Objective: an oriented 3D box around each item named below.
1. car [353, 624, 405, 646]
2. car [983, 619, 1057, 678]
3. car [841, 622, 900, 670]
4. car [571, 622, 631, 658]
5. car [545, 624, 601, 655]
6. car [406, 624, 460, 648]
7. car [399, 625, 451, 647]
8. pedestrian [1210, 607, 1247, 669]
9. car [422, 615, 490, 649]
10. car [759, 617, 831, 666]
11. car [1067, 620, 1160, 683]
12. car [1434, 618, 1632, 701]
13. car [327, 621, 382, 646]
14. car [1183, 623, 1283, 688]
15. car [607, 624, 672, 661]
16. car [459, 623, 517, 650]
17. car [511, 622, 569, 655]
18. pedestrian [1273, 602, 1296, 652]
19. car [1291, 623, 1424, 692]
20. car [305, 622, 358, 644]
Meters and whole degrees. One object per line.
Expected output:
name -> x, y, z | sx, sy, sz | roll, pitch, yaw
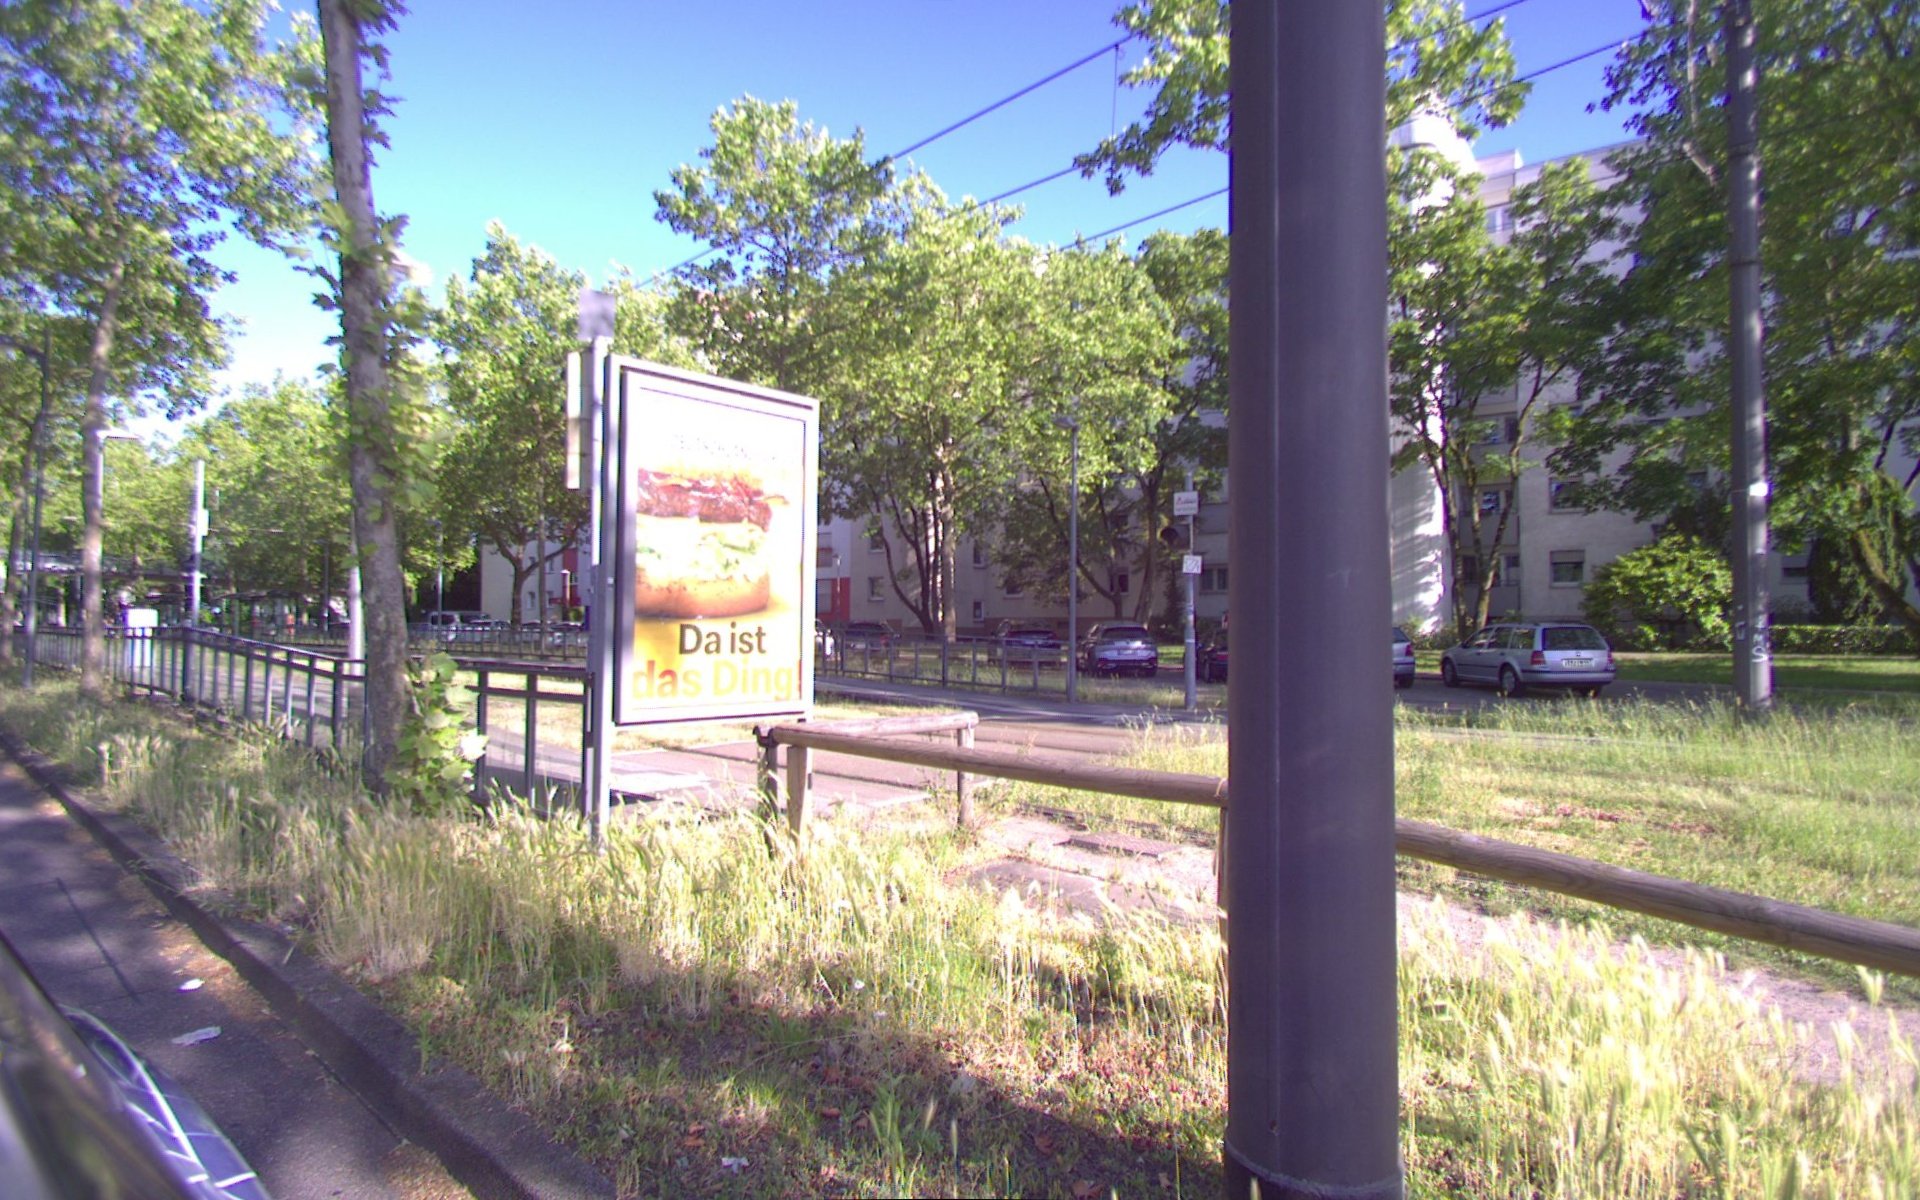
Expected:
car -> -37.793, 2.268, 65.937 | 1.459, 1.330, 3.488 | 0, -1, -1
car -> 1.695, 1.374, 29.756 | 1.669, 1.499, 4.003 | -1, 0, -4
car -> -3.014, 1.543, 34.668 | 1.538, 1.439, 3.761 | -1, 0, 3
car -> -16.617, 1.840, 47.002 | 1.445, 1.519, 3.393 | -1, 0, 3
car -> -18.887, 1.906, 49.527 | 1.459, 1.339, 3.488 | -2, 0, -1
car -> -30.911, 2.080, 59.440 | 1.459, 1.354, 3.488 | 0, -1, -1
car -> -33.051, 2.208, 62.617 | 1.459, 1.311, 3.488 | 0, -1, -1
pedestrian -> 7.844, 1.100, 29.562 | 0.755, 1.770, 0.752 | -1, -2, 41
car -> -28.407, 1.787, 57.138 | 1.843, 1.826, 4.047 | 0, -1, 0
car -> -6.004, 1.487, 37.218 | 1.791, 1.607, 3.997 | -1, 0, 3
car -> 4.105, 1.344, 27.685 | 1.650, 1.469, 4.004 | -1, 0, -4
car -> 11.528, 1.135, 20.704 | 1.685, 1.454, 3.978 | -1, 0, -2
car -> -40.767, 2.223, 68.198 | 1.578, 1.582, 3.830 | 0, -1, -3
car -> 6.742, 1.329, 25.363 | 1.572, 1.360, 3.922 | -1, 0, 3
car -> -14.039, 1.841, 44.483 | 1.470, 1.425, 3.880 | -1, 0, 3
car -> -25.840, 1.993, 55.478 | 1.605, 1.414, 3.488 | 0, -1, -1
car -> -21.171, 1.926, 51.111 | 1.539, 1.436, 3.489 | -3, 0, -2
pedestrian -> 11.762, 0.967, 36.637 | 0.634, 1.770, 0.516 | -1, -2, 39
car -> 9.117, 1.273, 23.533 | 1.553, 1.431, 3.620 | -1, -1, -1
car -> -44.957, 2.356, 72.465 | 1.578, 1.538, 3.737 | 0, -1, -3
